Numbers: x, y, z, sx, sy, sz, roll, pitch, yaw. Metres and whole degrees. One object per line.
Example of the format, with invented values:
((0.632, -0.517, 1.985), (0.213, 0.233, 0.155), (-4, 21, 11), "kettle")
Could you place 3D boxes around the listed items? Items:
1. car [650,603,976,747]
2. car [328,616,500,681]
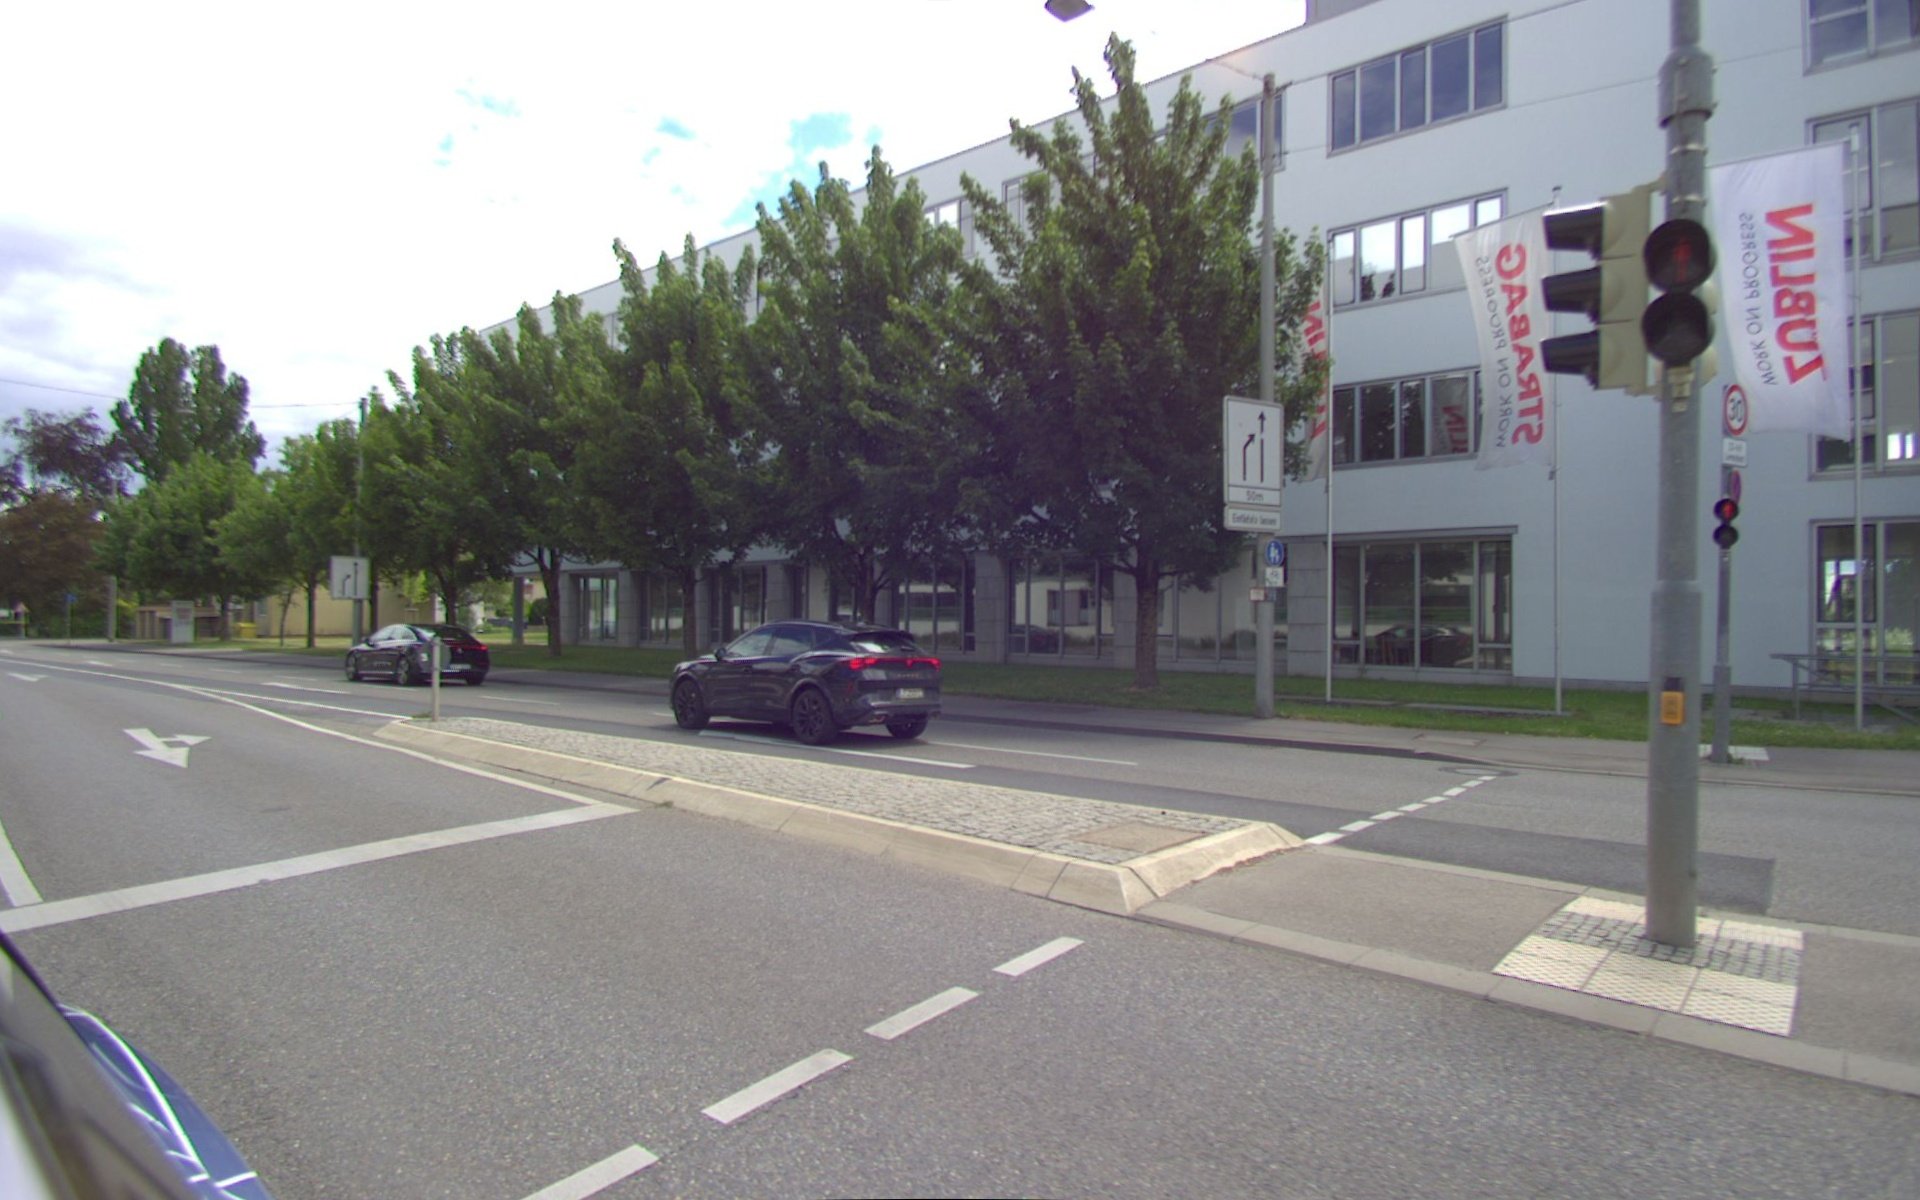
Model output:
((-2.095, 0.863, 13.471), (4.540, 1.564, 1.864), (0, -1, 43), "car")
((-13.917, 1.176, 25.696), (5.044, 1.456, 2.004), (0, -2, 39), "car")
